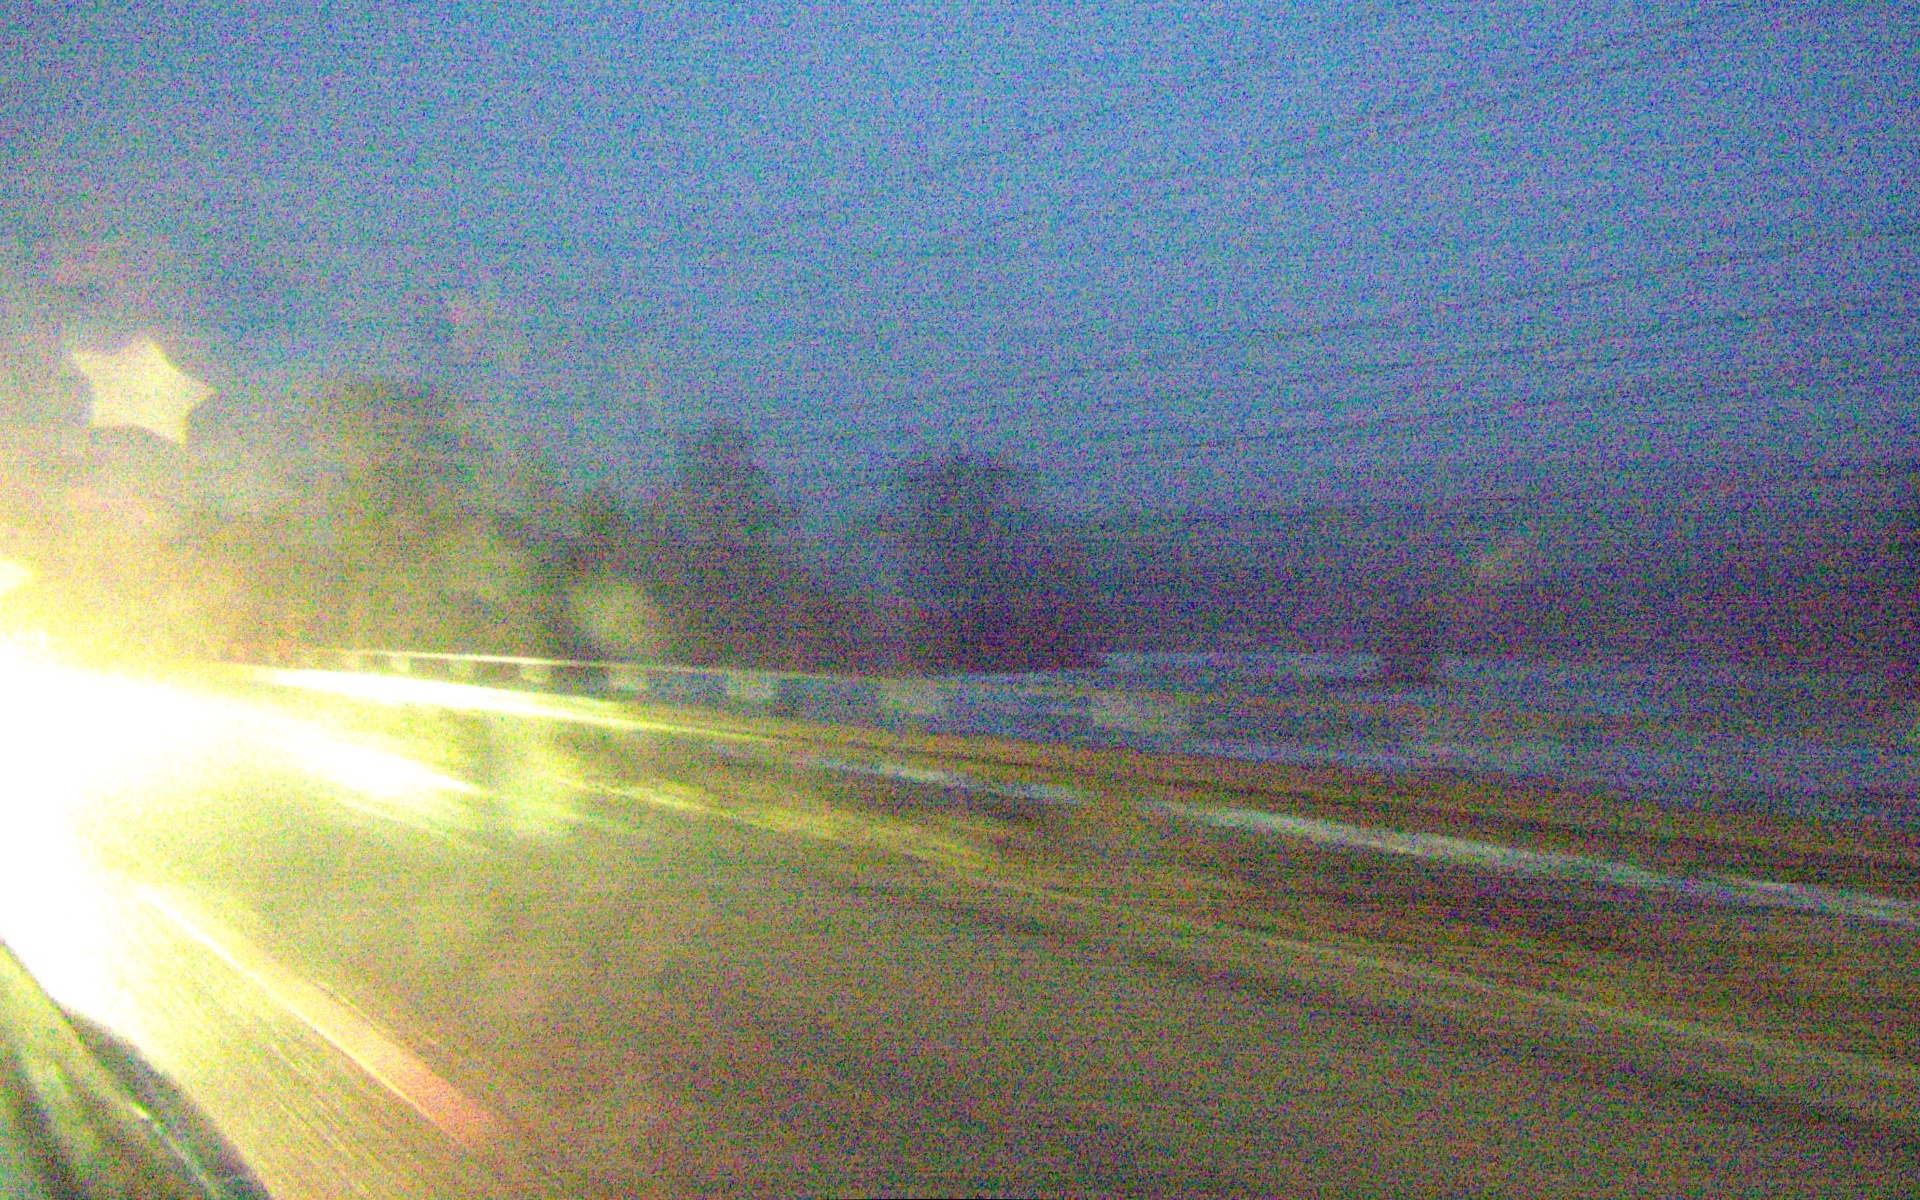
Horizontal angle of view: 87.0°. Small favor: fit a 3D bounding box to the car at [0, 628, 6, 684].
[{"bbox_3d":[-28.537,1.557,28.636,4.487,1.531,1.747,-2,-4,41],"label":"car"}]
